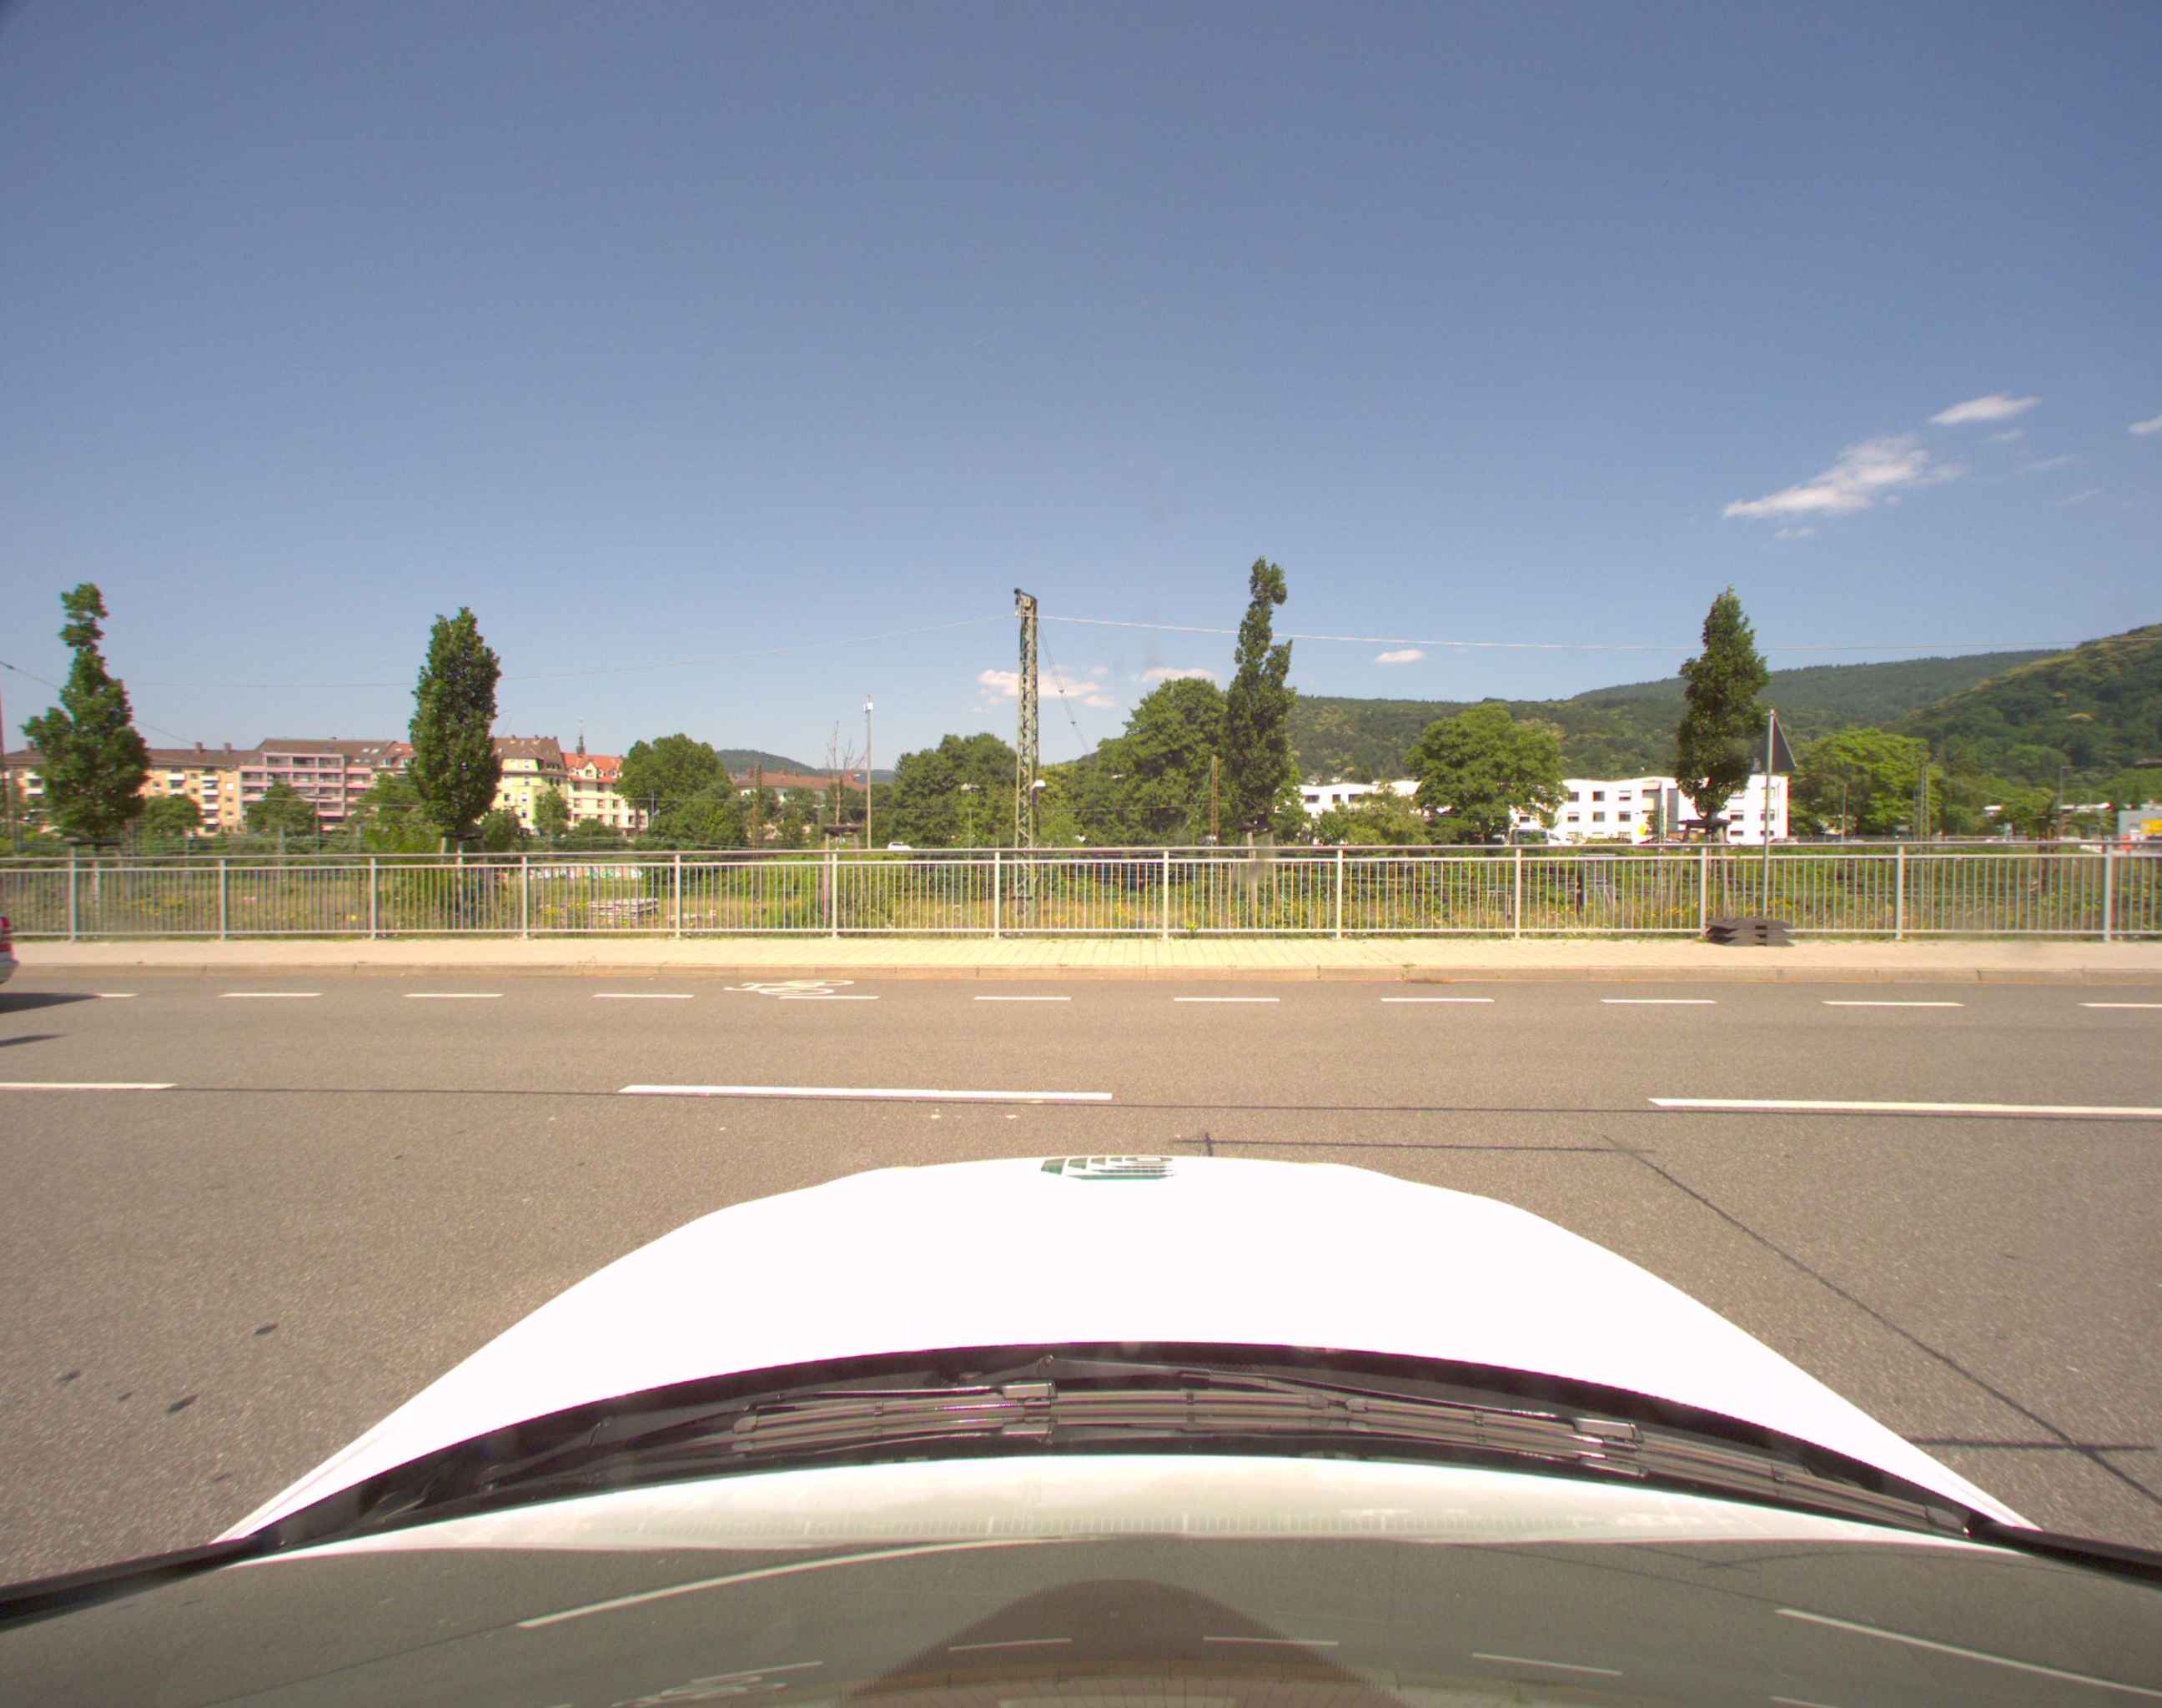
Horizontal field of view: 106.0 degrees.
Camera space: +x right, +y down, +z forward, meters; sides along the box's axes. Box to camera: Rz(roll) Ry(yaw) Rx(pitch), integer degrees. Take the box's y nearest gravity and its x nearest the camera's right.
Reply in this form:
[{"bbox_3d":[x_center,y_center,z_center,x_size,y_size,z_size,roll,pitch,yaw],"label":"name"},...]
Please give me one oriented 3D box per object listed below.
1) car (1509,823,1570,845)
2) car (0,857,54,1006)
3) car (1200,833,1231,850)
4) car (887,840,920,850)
[{"bbox_3d":[51.129,-2.236,90.977,5.460,2.103,2.143,-2,-4,14],"label":"car"},{"bbox_3d":[-12.418,0.751,7.319,4.354,1.404,1.715,-1,0,3],"label":"car"},{"bbox_3d":[18.011,-1.612,109.040,3.887,2.014,1.764,-2,-4,21],"label":"car"},{"bbox_3d":[-24.204,-1.268,111.063,4.260,1.367,1.878,0,1,33],"label":"car"}]
